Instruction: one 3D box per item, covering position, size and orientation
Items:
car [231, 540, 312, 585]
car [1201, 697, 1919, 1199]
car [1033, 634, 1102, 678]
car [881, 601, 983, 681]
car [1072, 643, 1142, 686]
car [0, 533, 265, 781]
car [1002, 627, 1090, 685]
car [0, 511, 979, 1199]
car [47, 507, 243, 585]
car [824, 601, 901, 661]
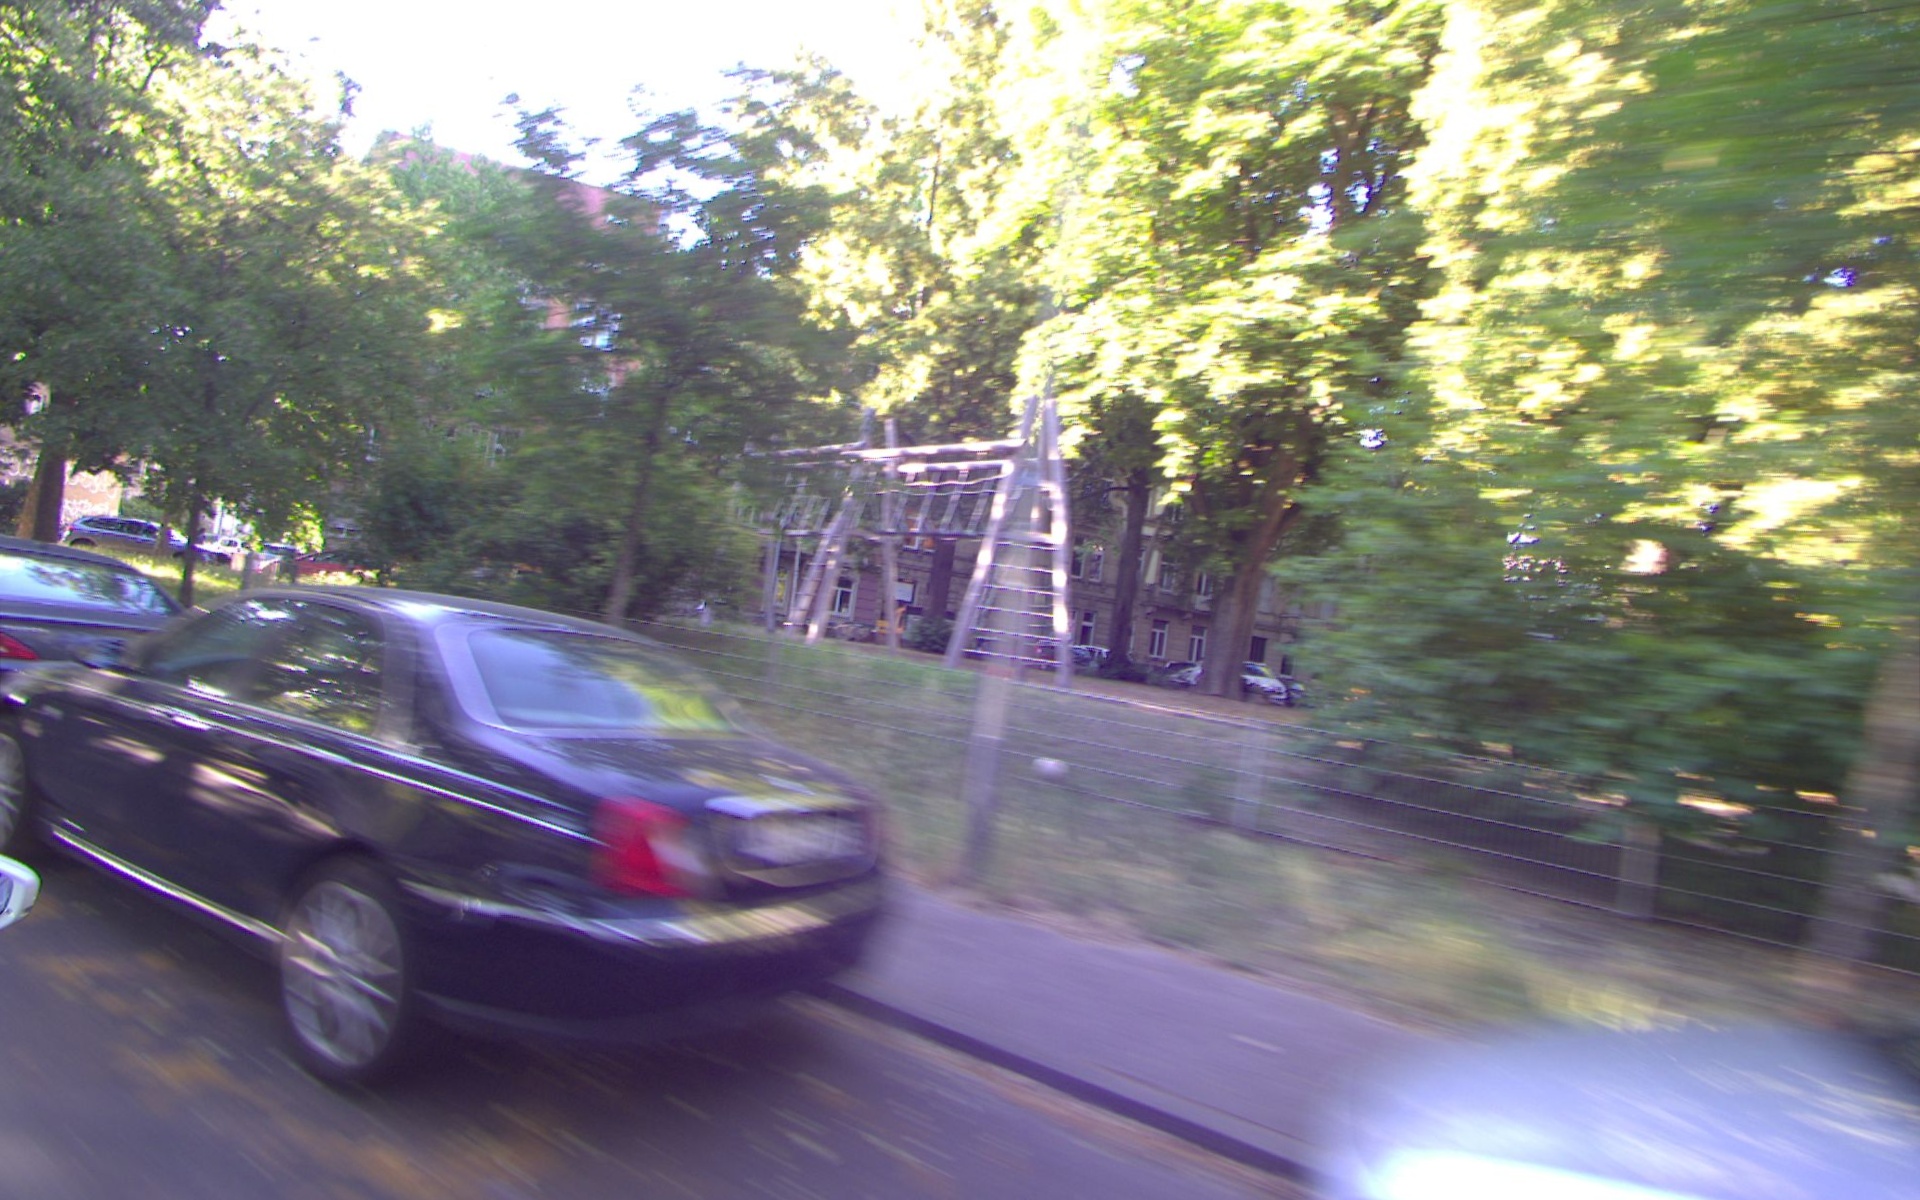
[{"bbox_3d":[-27.684,-1.518,40.553,1.712,1.490,3.979,9,-1,-22],"label":"car"},{"bbox_3d":[2.464,1.170,1.213,4.005,1.470,1.686,7,-3,27],"label":"car"},{"bbox_3d":[5.406,2.798,51.141,1.969,1.803,3.990,8,-2,-15],"label":"car"},{"bbox_3d":[-1.156,1.472,37.619,2.336,2.483,5.496,8,-2,-15],"label":"car"},{"bbox_3d":[7.523,3.283,51.870,1.969,1.803,3.990,8,-2,-15],"label":"car"},{"bbox_3d":[-6.925,0.190,6.963,4.214,1.297,1.685,7,-3,29],"label":"car"},{"bbox_3d":[3.252,2.116,38.798,1.969,1.803,3.990,8,-2,-15],"label":"car"},{"bbox_3d":[-2.393,0.596,4.239,4.580,1.440,1.685,7,-3,31],"label":"car"},{"bbox_3d":[-25.216,-1.621,31.301,4.210,1.567,1.741,8,-5,-14],"label":"car"},{"bbox_3d":[-3.608,1.101,36.666,1.969,1.803,3.990,8,-2,-15],"label":"car"}]
